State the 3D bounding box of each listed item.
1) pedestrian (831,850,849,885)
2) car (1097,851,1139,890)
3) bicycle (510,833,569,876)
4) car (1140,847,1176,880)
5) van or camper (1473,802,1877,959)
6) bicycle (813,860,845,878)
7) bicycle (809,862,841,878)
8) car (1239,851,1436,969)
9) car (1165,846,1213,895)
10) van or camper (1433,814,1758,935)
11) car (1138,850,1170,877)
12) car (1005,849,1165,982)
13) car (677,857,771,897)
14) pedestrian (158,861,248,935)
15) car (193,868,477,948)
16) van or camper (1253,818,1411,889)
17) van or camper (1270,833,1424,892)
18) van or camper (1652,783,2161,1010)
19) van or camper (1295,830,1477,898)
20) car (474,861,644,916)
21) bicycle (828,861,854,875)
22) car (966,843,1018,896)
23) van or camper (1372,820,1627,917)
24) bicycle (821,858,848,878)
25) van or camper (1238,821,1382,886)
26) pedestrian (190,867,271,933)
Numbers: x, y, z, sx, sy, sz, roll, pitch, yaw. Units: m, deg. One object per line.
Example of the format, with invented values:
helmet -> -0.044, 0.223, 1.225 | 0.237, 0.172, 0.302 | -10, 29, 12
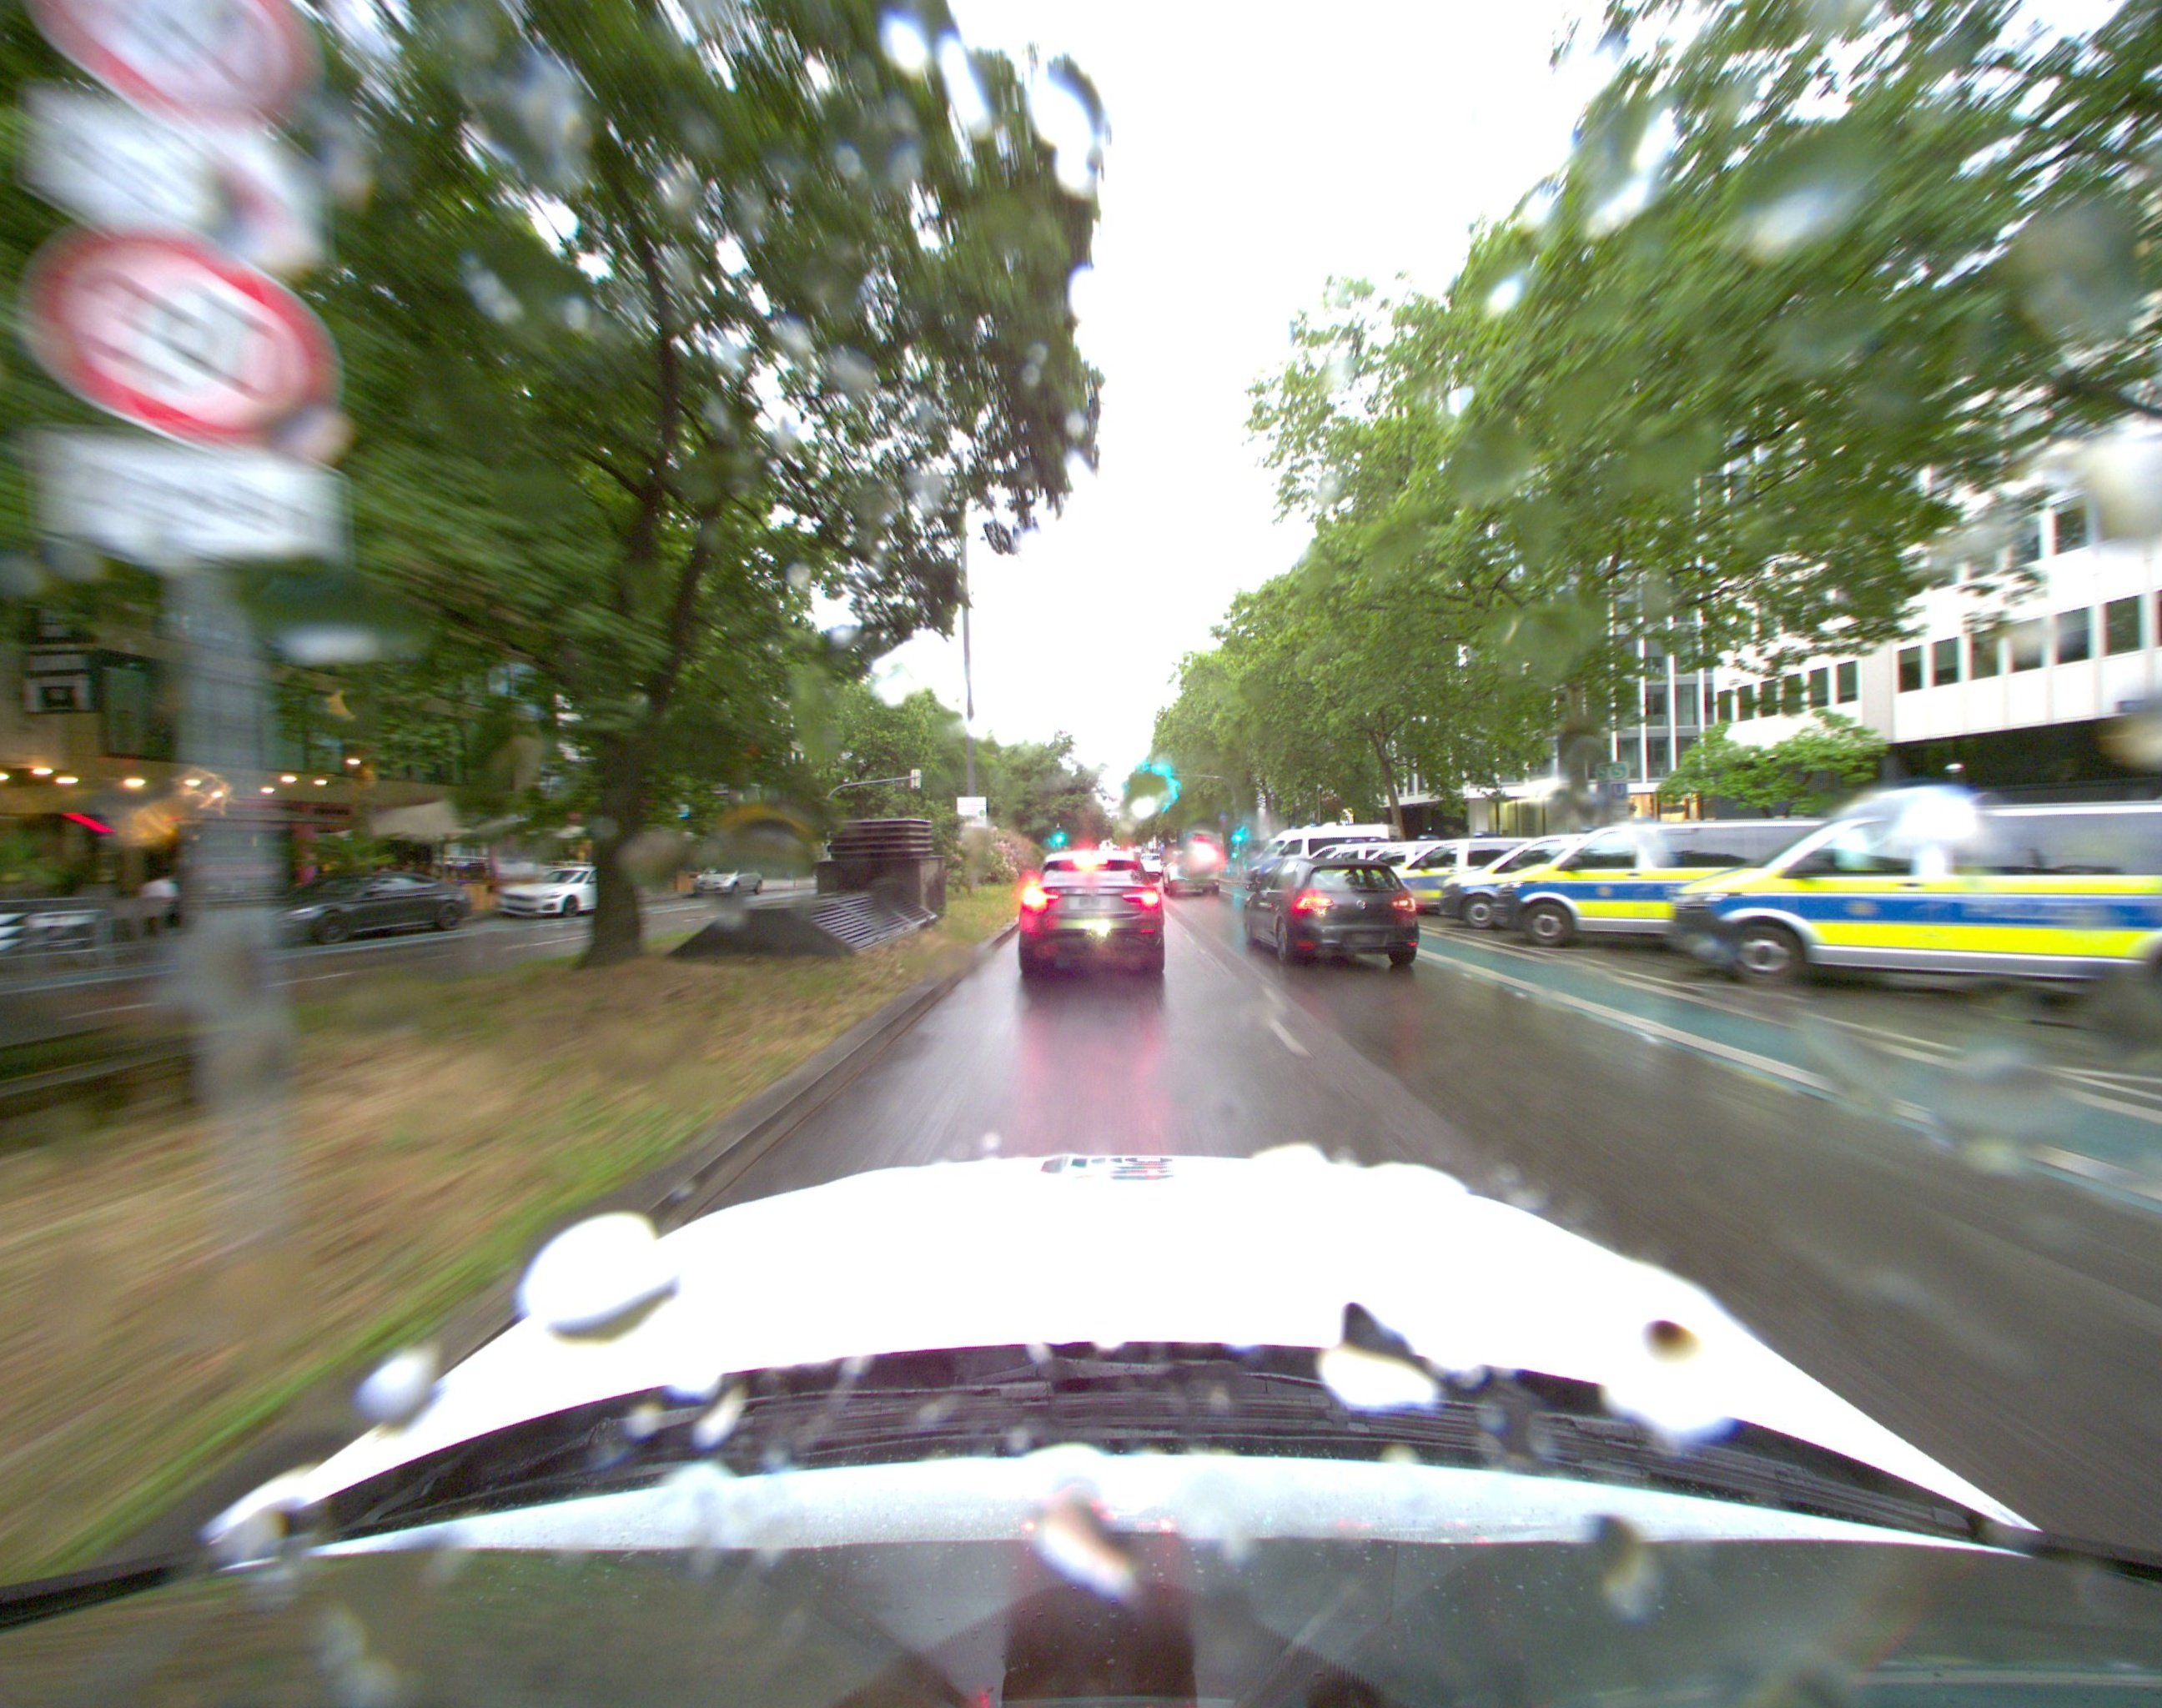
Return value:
pedestrian -> -12.824, 0.704, 43.394 | 0.723, 1.867, 0.840 | -1, 0, -6
car -> 1.597, 0.661, 35.840 | 1.715, 1.577, 3.963 | -1, 0, 2
bicycle -> -26.566, 0.033, 39.955 | 2.378, 2.013, 0.690 | -2, 0, -1
car -> 4.329, 0.502, 46.260 | 1.815, 1.750, 4.002 | -1, 0, 2
van or camper -> 8.920, 0.361, 12.675 | 4.733, 2.011, 2.013 | -1, -1, 38
bicycle -> -16.452, 0.980, 53.183 | 1.842, 1.098, 0.613 | -1, 0, -6
bicycle -> -16.440, 1.009, 52.275 | 1.839, 0.979, 0.566 | -1, 0, -2
car -> 3.578, 0.687, 12.136 | 1.758, 1.413, 4.002 | -2, 0, 2
car -> 3.921, 0.568, 29.933 | 1.427, 1.685, 2.981 | -2, 0, 2
van or camper -> 9.642, 0.372, 15.633 | 4.959, 1.995, 2.013 | -1, 0, 34
car -> 5.062, 0.656, 57.148 | 1.986, 1.750, 4.002 | -1, 0, 2
car -> 0.171, 0.709, 11.803 | 1.855, 1.532, 4.530 | -1, 0, 3
car -> -15.114, 0.920, 34.787 | 1.987, 1.509, 4.517 | -2, 0, 0
pedestrian -> -18.423, 0.907, 17.116 | 0.827, 1.488, 0.973 | -1, 0, -1
car -> -15.605, 1.047, 17.453 | 1.818, 1.394, 4.486 | -1, 0, 2
van or camper -> 10.120, 0.014, 33.106 | 5.737, 2.680, 2.013 | -1, 0, 37
van or camper -> 9.726, 0.341, 29.973 | 4.952, 2.014, 2.013 | -2, -1, 37
van or camper -> 9.115, 0.380, 8.716 | 4.792, 1.998, 1.880 | -1, 0, 38
van or camper -> 9.731, 0.314, 26.212 | 5.142, 1.992, 2.013 | 0, -1, 36
car -> -15.316, 0.954, 24.257 | 1.986, 1.370, 4.542 | 1, 0, 2
bicycle -> -16.319, 0.949, 55.337 | 1.615, 0.962, 0.508 | -1, 0, -6
car -> -2.508, 0.405, 23.302 | 1.046, 1.387, 2.695 | -2, 0, 2
van or camper -> 9.843, 0.309, 19.389 | 5.042, 2.025, 2.119 | -1, 0, 39
bicycle -> -16.315, 0.935, 53.909 | 1.615, 1.241, 0.508 | -1, 0, -6
van or camper -> 10.161, 0.010, 36.436 | 5.741, 2.677, 2.161 | -1, 0, 39
pedestrian -> -18.640, 1.001, 17.873 | 0.761, 1.380, 0.933 | -1, 0, -1
